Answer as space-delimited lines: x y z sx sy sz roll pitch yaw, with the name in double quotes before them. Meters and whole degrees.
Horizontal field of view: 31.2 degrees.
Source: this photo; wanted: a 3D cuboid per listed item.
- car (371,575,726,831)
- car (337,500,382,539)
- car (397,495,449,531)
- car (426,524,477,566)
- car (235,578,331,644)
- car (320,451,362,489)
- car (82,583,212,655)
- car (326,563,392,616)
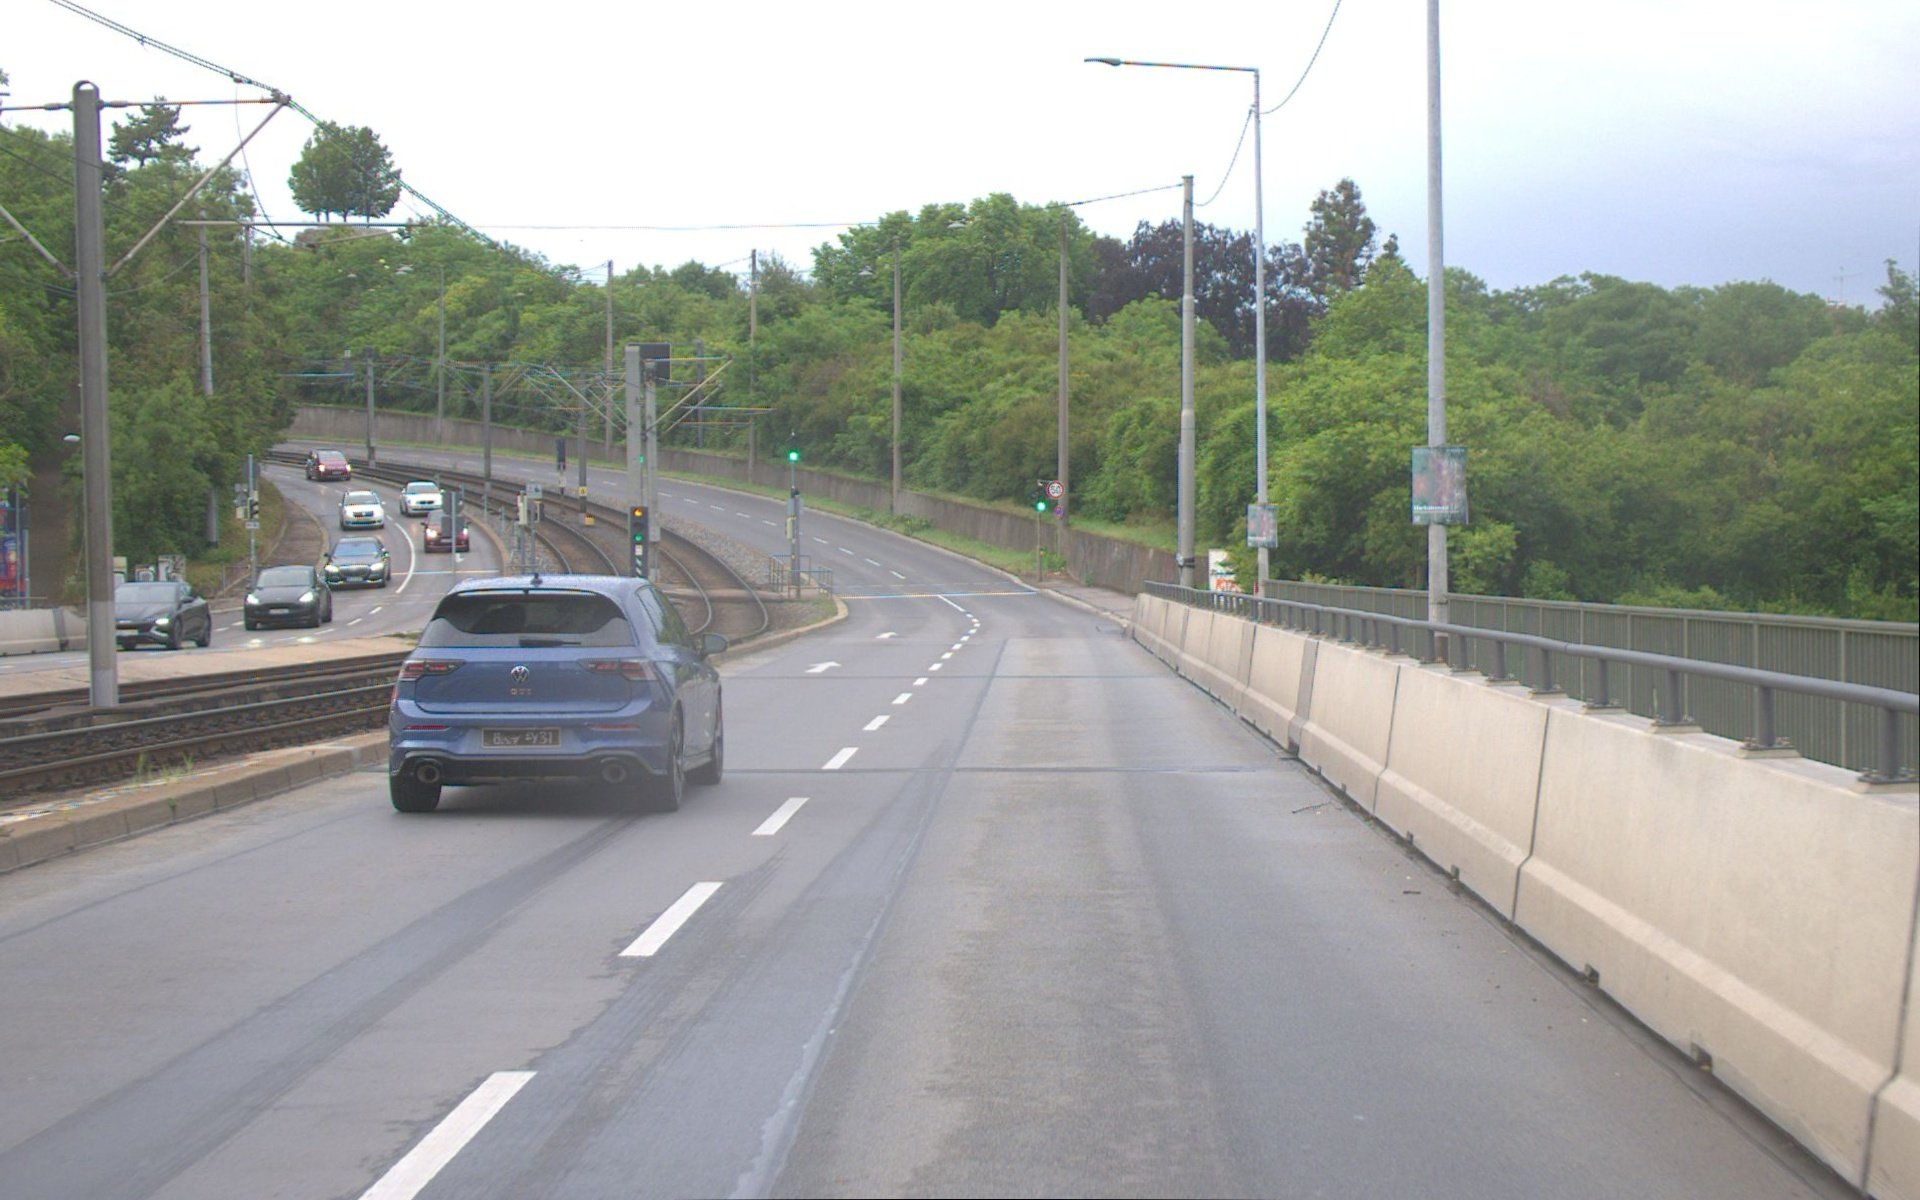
"car" -2.557 0.598 22.207 1.763 1.496 4.000 0 0 1
"car" -25.429 -3.401 145.528 1.820 1.510 4.530 -1 0 -10
"car" -23.981 -3.875 153.395 1.729 1.432 4.493 -2 0 -16
"car" -19.112 -2.078 129.175 1.600 1.488 3.019 -2 2 -13
"car" -18.136 0.273 92.332 1.896 1.592 4.733 -2 1 -4
"car" -33.751 -7.116 187.427 1.847 1.591 4.735 -3 8 -14
"car" -17.317 0.380 73.397 1.816 1.431 4.741 -1 1 -2
"car" -19.664 -0.320 112.344 1.968 1.592 5.185 -2 -1 -11
